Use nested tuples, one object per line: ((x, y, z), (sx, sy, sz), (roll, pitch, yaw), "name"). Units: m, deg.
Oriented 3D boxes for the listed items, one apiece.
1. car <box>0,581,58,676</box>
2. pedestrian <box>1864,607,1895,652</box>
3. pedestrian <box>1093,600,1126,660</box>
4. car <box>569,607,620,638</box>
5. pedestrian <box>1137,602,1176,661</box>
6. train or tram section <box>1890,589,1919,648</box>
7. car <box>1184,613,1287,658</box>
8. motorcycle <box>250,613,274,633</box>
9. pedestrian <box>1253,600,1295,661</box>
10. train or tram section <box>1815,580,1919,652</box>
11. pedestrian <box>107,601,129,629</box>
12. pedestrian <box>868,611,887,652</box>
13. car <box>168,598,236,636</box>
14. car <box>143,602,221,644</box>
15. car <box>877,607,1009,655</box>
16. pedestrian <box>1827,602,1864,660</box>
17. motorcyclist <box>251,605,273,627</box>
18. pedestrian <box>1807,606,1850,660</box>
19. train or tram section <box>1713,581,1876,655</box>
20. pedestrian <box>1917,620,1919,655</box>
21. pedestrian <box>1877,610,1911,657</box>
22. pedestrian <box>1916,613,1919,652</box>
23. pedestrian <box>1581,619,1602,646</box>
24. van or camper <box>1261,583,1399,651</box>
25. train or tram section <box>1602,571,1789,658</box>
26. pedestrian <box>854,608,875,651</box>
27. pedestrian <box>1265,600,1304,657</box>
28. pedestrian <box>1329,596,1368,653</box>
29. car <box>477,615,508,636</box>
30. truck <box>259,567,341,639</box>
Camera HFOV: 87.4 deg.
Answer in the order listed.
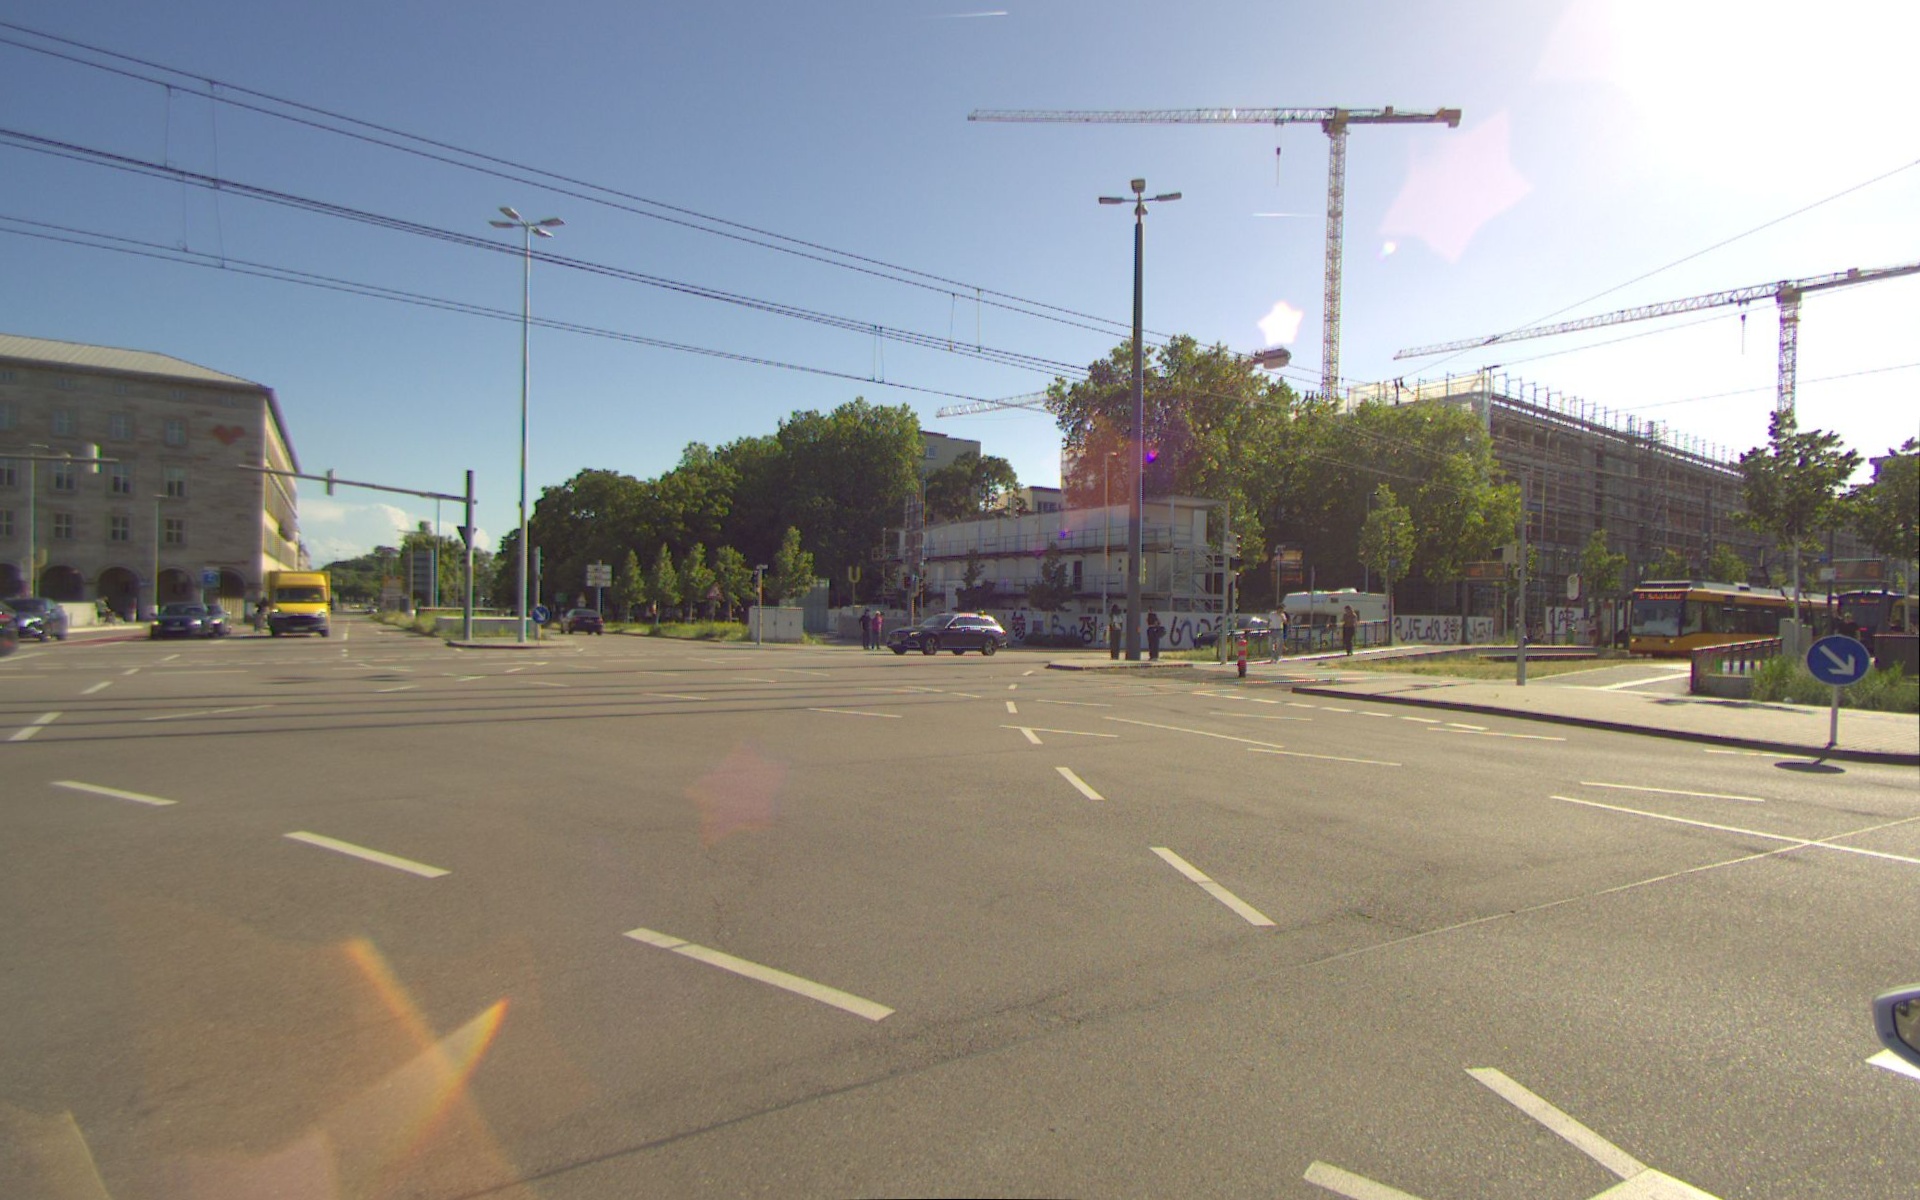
((-19.336, 0.484, 18.122), (4.528, 1.730, 1.974), (2, -1, -43), "car")
((38.206, 1.225, 41.726), (0.819, 1.799, 0.755), (0, 2, -38), "pedestrian")
((4.678, 0.945, 31.527), (0.865, 1.847, 0.802), (1, 0, -3), "pedestrian")
((-20.206, 1.214, 55.436), (1.977, 1.623, 3.968), (1, -1, -30), "car")
((6.310, 1.008, 32.260), (0.968, 1.847, 0.793), (1, 0, -38), "pedestrian")
((63.758, 1.325, 63.761), (21.933, 3.323, 2.850), (2, 1, -37), "train or tram section")
((11.539, 1.476, 41.979), (4.328, 1.730, 1.931), (2, 0, -38), "car")
((-34.512, 1.124, 49.685), (0.786, 0.922, 3.228), (2, -2, -33), "motorcycle")
((9.693, 0.941, 30.999), (0.968, 1.847, 0.793), (1, 0, -38), "pedestrian")
((48.940, 0.892, 52.682), (15.041, 3.323, 2.850), (2, 1, -37), "train or tram section")
((-53.129, 0.942, 63.383), (0.938, 1.708, 1.184), (0, 2, -35), "pedestrian")
((-3.762, 1.416, 45.758), (0.686, 1.847, 0.596), (1, 0, 17), "pedestrian")
((-33.540, 0.728, 44.518), (1.881, 1.559, 3.968), (1, 0, -30), "car")
((-30.871, 0.902, 39.979), (1.881, 1.559, 3.968), (1, 0, -30), "car")
((-0.540, 1.092, 36.180), (1.972, 1.582, 4.801), (1, -1, 44), "car")
((28.421, 0.981, 32.241), (0.951, 1.799, 0.697), (0, 2, -39), "pedestrian")
((-34.443, 0.787, 49.575), (0.786, 1.096, 1.010), (2, -1, -33), "motorcyclist")
((30.069, 1.114, 34.782), (1.179, 1.799, 0.867), (0, 2, -39), "pedestrian")
((44.210, 1.010, 52.873), (15.814, 3.366, 2.827), (2, 2, -37), "train or tram section")
((42.566, 1.646, 44.122), (0.583, 1.533, 0.642), (0, 2, -39), "pedestrian")
((36.896, 1.296, 39.670), (0.970, 1.799, 0.784), (0, 2, -39), "pedestrian")
((45.738, 1.549, 47.429), (1.065, 1.835, 0.667), (2, -1, -37), "pedestrian")
((29.705, 1.532, 47.277), (0.502, 1.242, 0.666), (2, 1, -38), "pedestrian")
((17.437, 0.798, 47.065), (7.275, 2.976, 2.585), (1, -1, -38), "van or camper")
((32.700, 0.670, 44.311), (12.949, 3.354, 2.850), (2, 1, -37), "train or tram section")
((-4.129, 1.260, 43.532), (0.686, 1.847, 0.596), (1, 0, 17), "pedestrian")
((10.741, 0.927, 33.224), (0.968, 1.847, 0.793), (1, 0, -38), "pedestrian")
((12.792, 0.812, 33.098), (0.968, 1.847, 0.793), (1, 0, -38), "pedestrian")
((-38.889, 2.126, 83.539), (1.977, 1.623, 3.968), (1, -1, -30), "car")
((-28.550, 0.129, 43.694), (2.434, 2.830, 7.970), (1, 0, -30), "truck")
